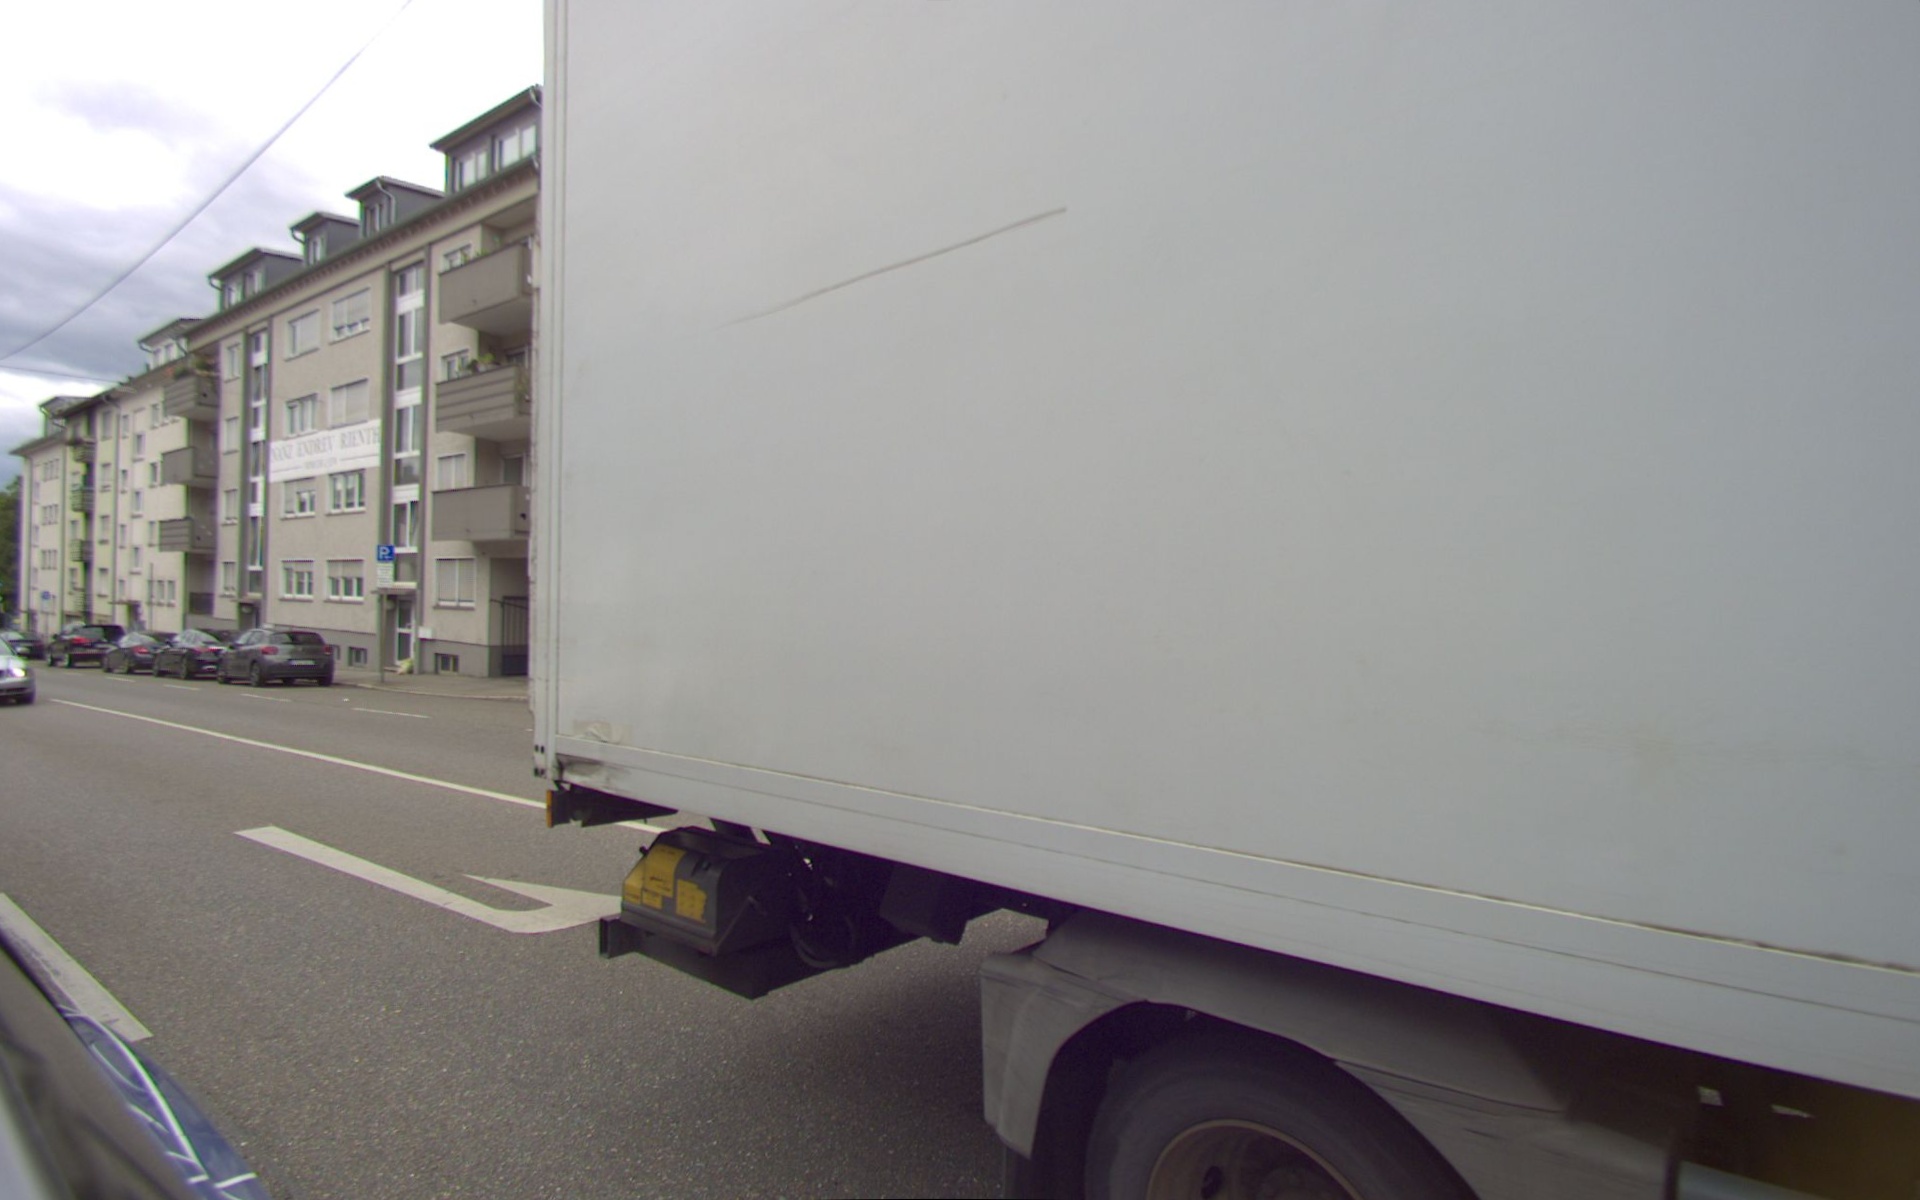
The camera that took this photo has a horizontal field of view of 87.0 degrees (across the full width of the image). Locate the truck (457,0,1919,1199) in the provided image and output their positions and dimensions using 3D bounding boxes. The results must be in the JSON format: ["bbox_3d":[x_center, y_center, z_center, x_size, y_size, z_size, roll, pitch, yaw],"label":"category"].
[{"bbox_3d":[2.410,-0.389,1.480,8.059,3.602,2.740,-2,-1,41],"label":"truck"}]

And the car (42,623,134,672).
[{"bbox_3d":[-33.493,1.824,38.841,4.302,1.767,1.852,-1,-4,39],"label":"car"}]

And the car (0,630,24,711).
[{"bbox_3d":[-18.427,1.285,18.462,4.177,1.383,1.678,-2,-2,43],"label":"car"}]

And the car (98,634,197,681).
[{"bbox_3d":[-26.459,1.834,32.911,4.305,1.416,1.750,-2,-2,41],"label":"car"}]

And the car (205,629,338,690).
[{"bbox_3d":[-17.792,1.509,26.103,3.797,1.447,1.751,-1,-4,39],"label":"car"}]

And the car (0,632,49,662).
[{"bbox_3d":[-46.393,2.273,49.723,4.305,1.391,1.851,-1,-4,41],"label":"car"}]
